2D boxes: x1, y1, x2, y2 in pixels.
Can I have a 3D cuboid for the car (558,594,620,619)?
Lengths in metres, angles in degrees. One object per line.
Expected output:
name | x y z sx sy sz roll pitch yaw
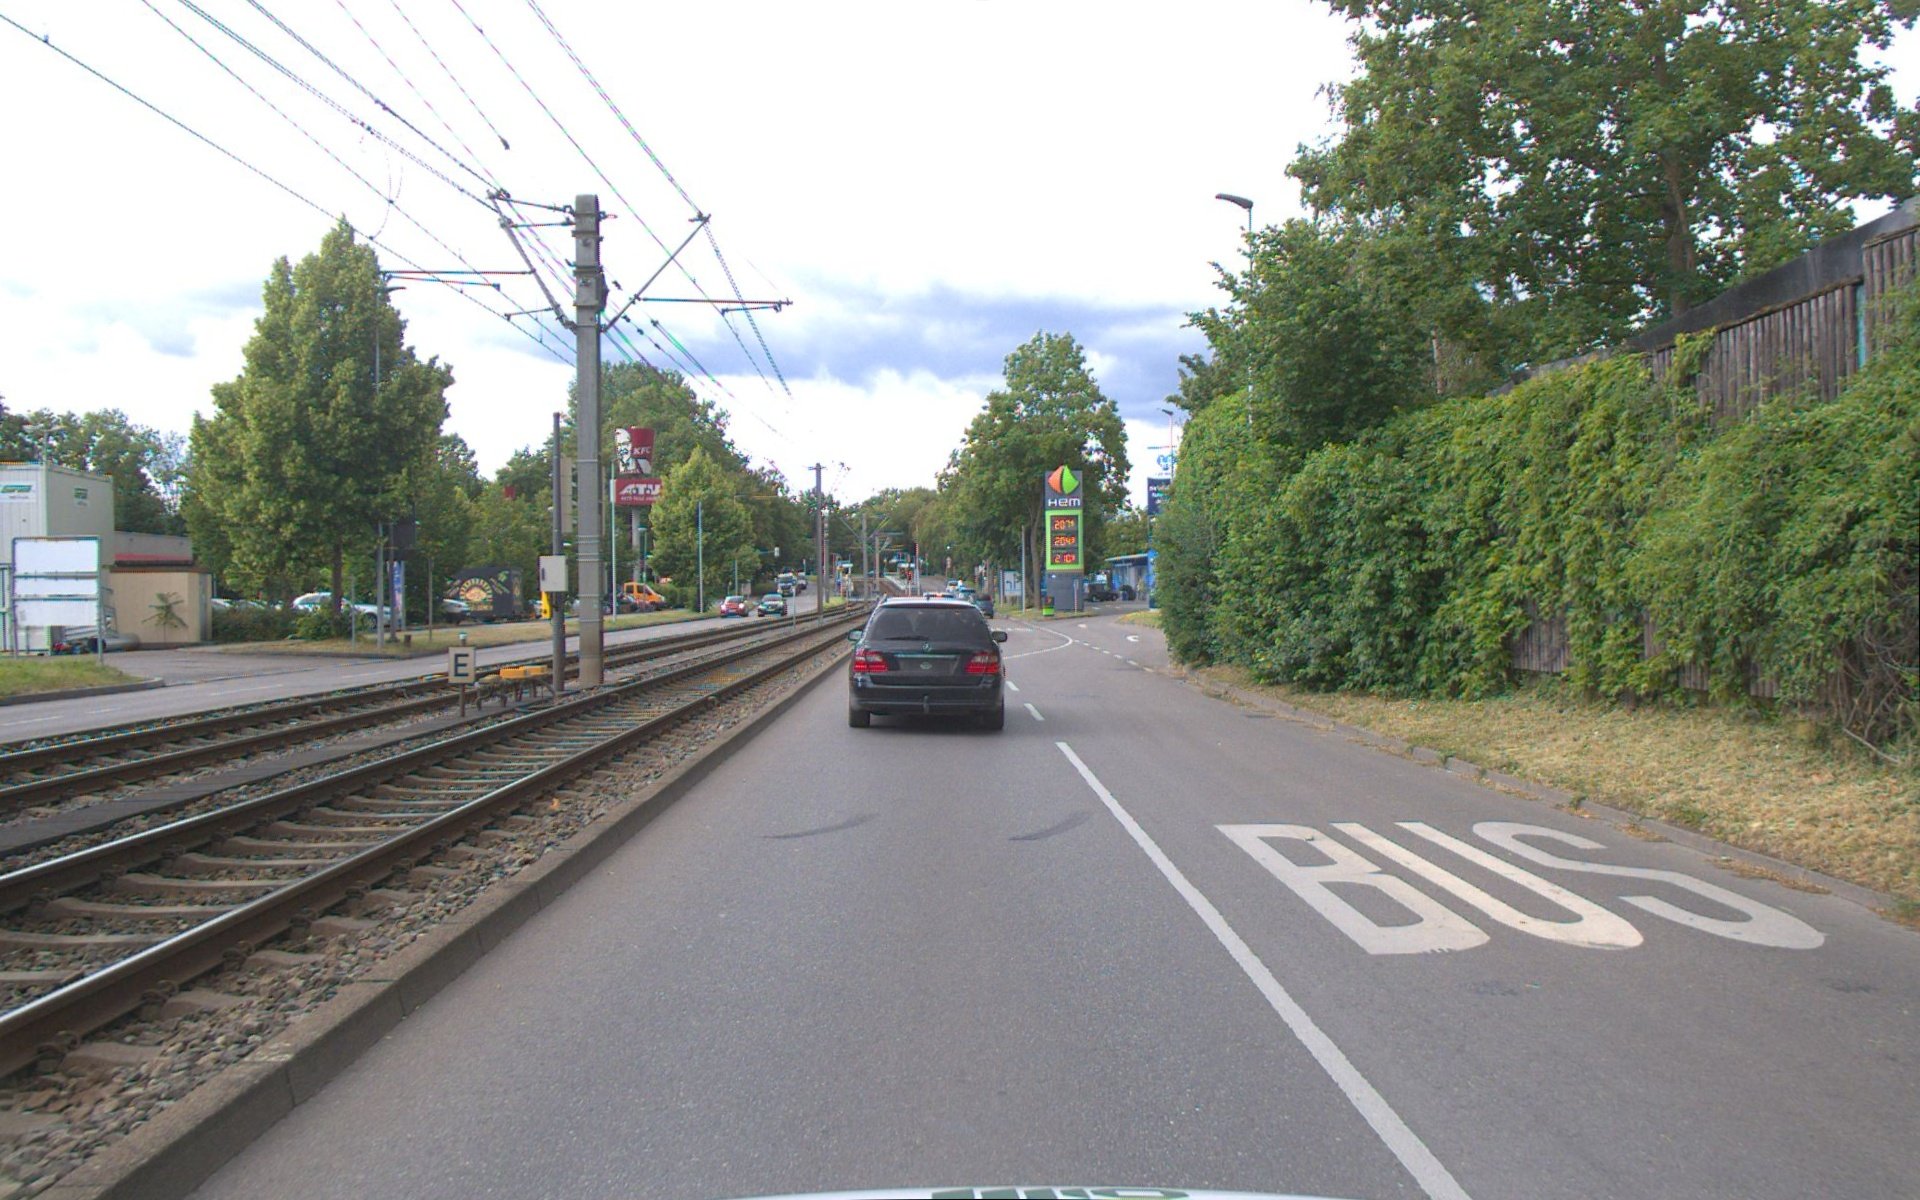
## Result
car | -25.578 0.418 114.110 3.910 1.627 1.876 -1 0 -6

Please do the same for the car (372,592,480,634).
car | -23.659 0.571 73.418 4.136 1.757 1.994 -1 0 -3

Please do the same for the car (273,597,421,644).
car | -23.597 0.756 63.857 4.683 1.657 2.652 -1 1 -1

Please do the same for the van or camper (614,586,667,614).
van or camper | -25.431 -0.014 131.654 3.910 2.172 1.876 0 0 -6

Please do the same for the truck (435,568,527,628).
truck | -23.825 -0.114 82.419 3.908 2.871 2.374 -1 0 -4

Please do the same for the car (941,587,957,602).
car | -1.484 -0.714 218.745 1.953 1.870 3.999 1 0 -1

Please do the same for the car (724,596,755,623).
car | -15.346 0.674 115.120 1.756 1.803 3.998 -1 0 -3

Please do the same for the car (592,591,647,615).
car | -26.052 0.239 126.569 3.910 1.829 1.876 0 0 -6

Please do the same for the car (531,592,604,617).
car | -24.974 0.279 105.351 4.221 1.497 1.679 -1 0 -4

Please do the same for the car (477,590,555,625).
car | -24.646 0.389 91.885 3.910 1.829 1.876 -1 0 -6

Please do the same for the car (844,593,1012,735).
car | -0.369 0.674 19.490 1.772 1.500 3.880 0 0 -1

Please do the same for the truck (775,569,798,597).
truck | -23.733 -2.262 226.840 2.653 3.728 11.103 -1 0 -4

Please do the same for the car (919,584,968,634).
car | -0.636 0.332 61.596 1.744 1.781 3.717 1 -1 -1

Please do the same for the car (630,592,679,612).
car | -25.920 0.190 140.540 3.910 1.627 1.794 -1 0 -6

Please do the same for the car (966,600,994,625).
car | 1.176 0.734 98.996 1.539 1.439 3.353 1 -1 -1

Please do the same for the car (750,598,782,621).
car | -12.950 0.636 110.693 1.724 1.425 4.442 -3 0 -2
